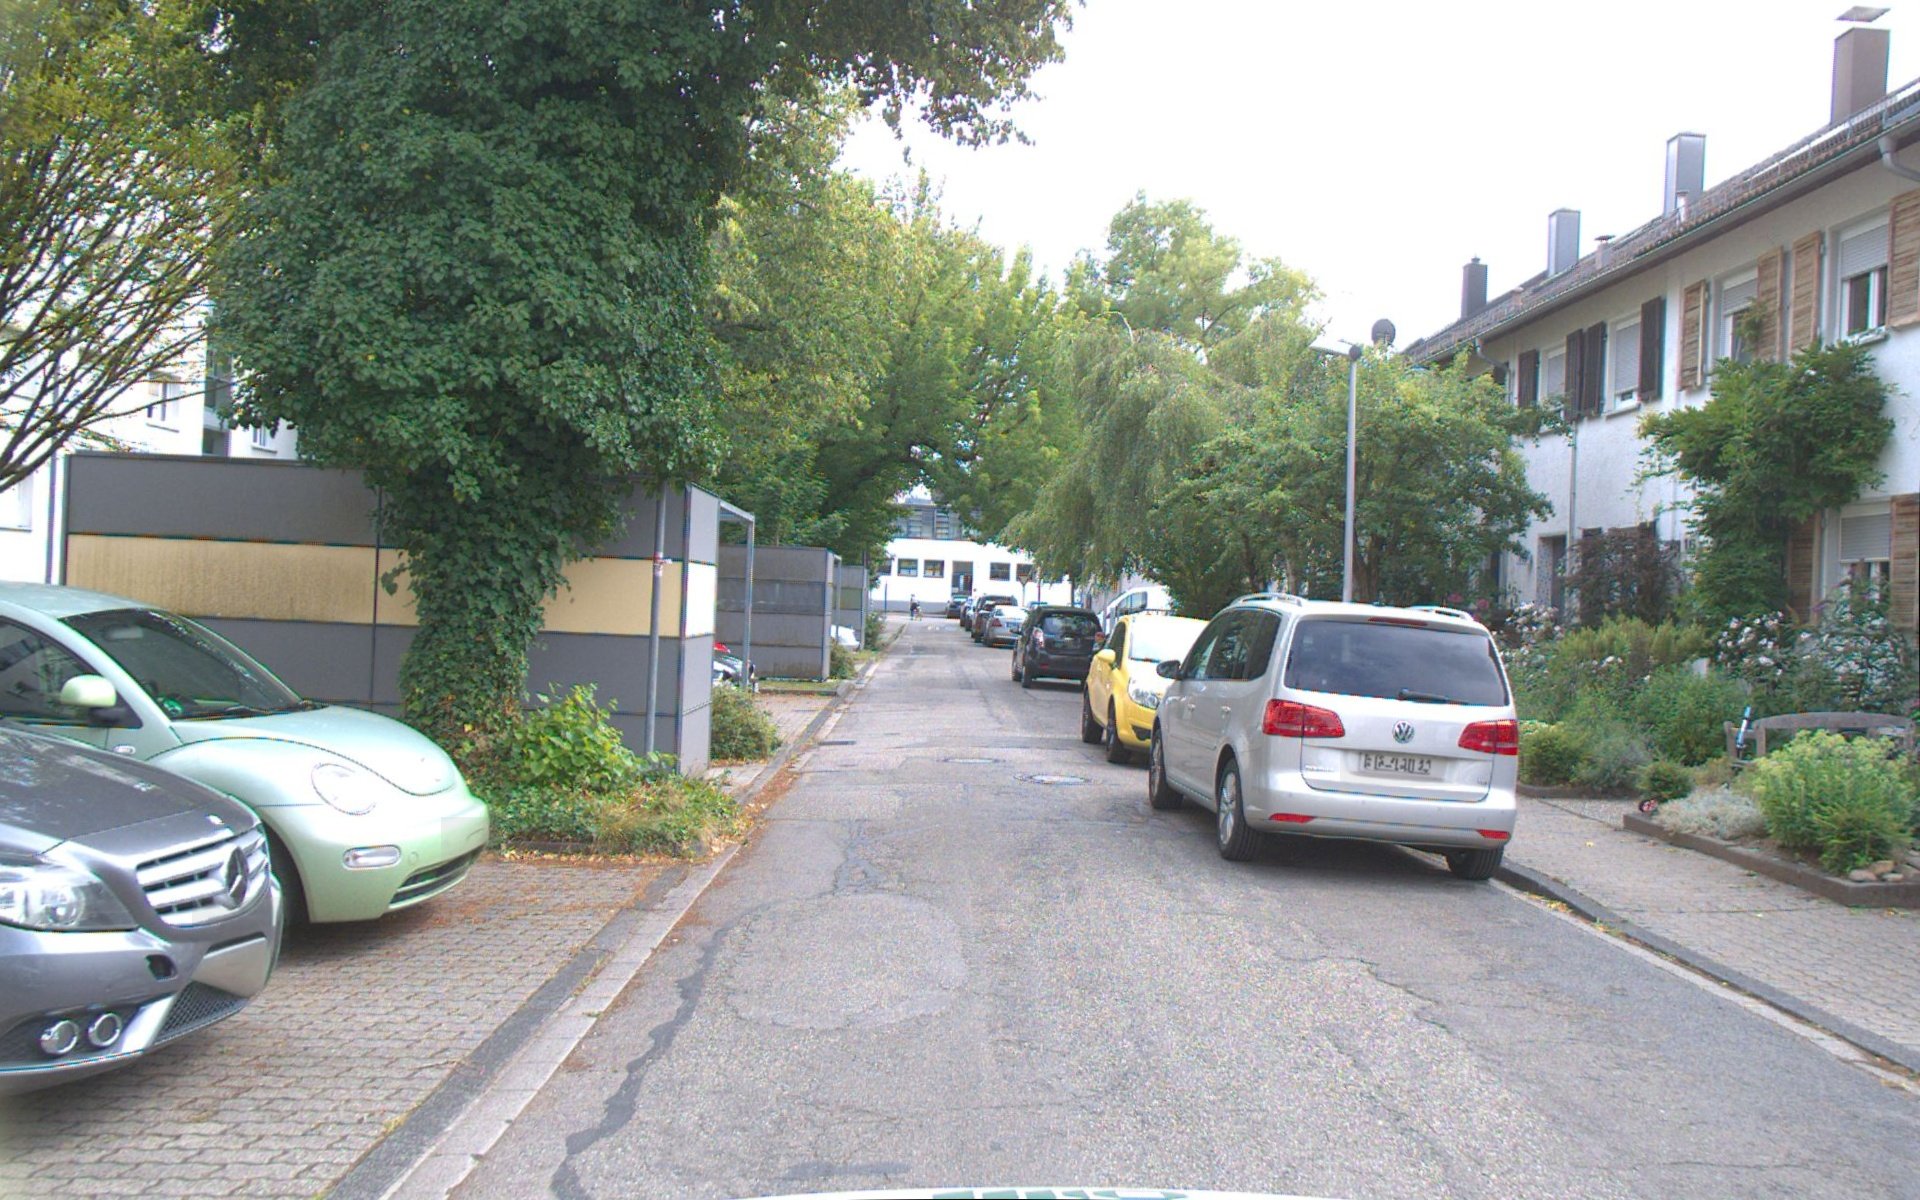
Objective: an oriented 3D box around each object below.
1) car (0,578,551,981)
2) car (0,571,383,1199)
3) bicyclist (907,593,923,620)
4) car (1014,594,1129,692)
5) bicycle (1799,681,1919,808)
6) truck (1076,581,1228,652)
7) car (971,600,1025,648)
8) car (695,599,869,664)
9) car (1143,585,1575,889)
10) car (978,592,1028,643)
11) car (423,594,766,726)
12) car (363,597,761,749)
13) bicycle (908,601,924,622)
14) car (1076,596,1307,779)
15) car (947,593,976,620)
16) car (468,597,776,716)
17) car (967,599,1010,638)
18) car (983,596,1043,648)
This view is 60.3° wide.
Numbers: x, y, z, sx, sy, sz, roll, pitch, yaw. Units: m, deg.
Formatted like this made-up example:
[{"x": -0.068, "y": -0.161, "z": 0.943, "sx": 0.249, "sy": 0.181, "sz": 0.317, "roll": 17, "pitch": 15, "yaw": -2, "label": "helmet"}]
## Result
[{"x": -4.226, "y": 0.669, "z": 7.351, "sx": 4.323, "sy": 1.528, "sz": 1.841, "roll": 2, "pitch": 0, "yaw": -1, "label": "car"}, {"x": -4.202, "y": 0.644, "z": 4.857, "sx": 4.323, "sy": 1.528, "sz": 1.841, "roll": 2, "pitch": 0, "yaw": -1, "label": "car"}, {"x": -2.618, "y": 0.371, "z": 96.893, "sx": 0.783, "sy": 1.537, "sz": 0.933, "roll": 4, "pitch": 0, "yaw": -5, "label": "bicyclist"}, {"x": 2.074, "y": 0.767, "z": 31.774, "sx": 1.788, "sy": 1.608, "sz": 4.192, "roll": 4, "pitch": 0, "yaw": -1, "label": "car"}, {"x": 7.273, "y": 1.107, "z": 12.827, "sx": 1.348, "sy": 0.912, "sz": 0.431, "roll": -1, "pitch": 0, "yaw": -7, "label": "bicycle"}, {"x": 5.764, "y": 0.503, "z": 49.926, "sx": 4.301, "sy": 2.049, "sz": 1.999, "roll": 1, "pitch": 0, "yaw": -2, "label": "truck"}, {"x": 1.405, "y": 0.872, "z": 62.382, "sx": 1.788, "sy": 1.608, "sz": 4.000, "roll": 4, "pitch": 0, "yaw": -1, "label": "car"}, {"x": -4.190, "y": 0.734, "z": 39.346, "sx": 3.950, "sy": 1.418, "sz": 1.737, "roll": 1, "pitch": 0, "yaw": -2, "label": "car"}, {"x": 2.507, "y": 0.779, "z": 11.454, "sx": 1.789, "sy": 1.608, "sz": 3.998, "roll": 4, "pitch": 0, "yaw": -2, "label": "car"}, {"x": 1.753, "y": 0.715, "z": 68.365, "sx": 1.788, "sy": 1.916, "sz": 4.000, "roll": 4, "pitch": 0, "yaw": -1, "label": "car"}, {"x": -4.485, "y": 0.726, "z": 20.742, "sx": 3.906, "sy": 1.489, "sz": 1.737, "roll": 1, "pitch": 0, "yaw": -2, "label": "car"}, {"x": -4.225, "y": 0.761, "z": 18.039, "sx": 3.906, "sy": 1.489, "sz": 1.737, "roll": 1, "pitch": 0, "yaw": -2, "label": "car"}, {"x": -2.571, "y": 0.683, "z": 96.846, "sx": 0.675, "sy": 1.151, "sz": 2.576, "roll": 4, "pitch": 0, "yaw": -6, "label": "bicycle"}, {"x": 2.345, "y": 0.827, "z": 17.747, "sx": 1.788, "sy": 1.608, "sz": 4.000, "roll": 4, "pitch": 0, "yaw": -1, "label": "car"}, {"x": 0.102, "y": 0.432, "z": 109.086, "sx": 1.788, "sy": 1.608, "sz": 4.000, "roll": 4, "pitch": 0, "yaw": -1, "label": "car"}, {"x": -4.597, "y": 0.754, "z": 22.950, "sx": 3.906, "sy": 1.489, "sz": 1.737, "roll": 1, "pitch": 0, "yaw": -2, "label": "car"}, {"x": 1.382, "y": 0.883, "z": 81.631, "sx": 1.953, "sy": 1.749, "sz": 4.194, "roll": 4, "pitch": 0, "yaw": 0, "label": "car"}, {"x": 1.787, "y": 0.730, "z": 56.815, "sx": 1.788, "sy": 1.608, "sz": 4.000, "roll": 4, "pitch": 0, "yaw": -1, "label": "car"}]
